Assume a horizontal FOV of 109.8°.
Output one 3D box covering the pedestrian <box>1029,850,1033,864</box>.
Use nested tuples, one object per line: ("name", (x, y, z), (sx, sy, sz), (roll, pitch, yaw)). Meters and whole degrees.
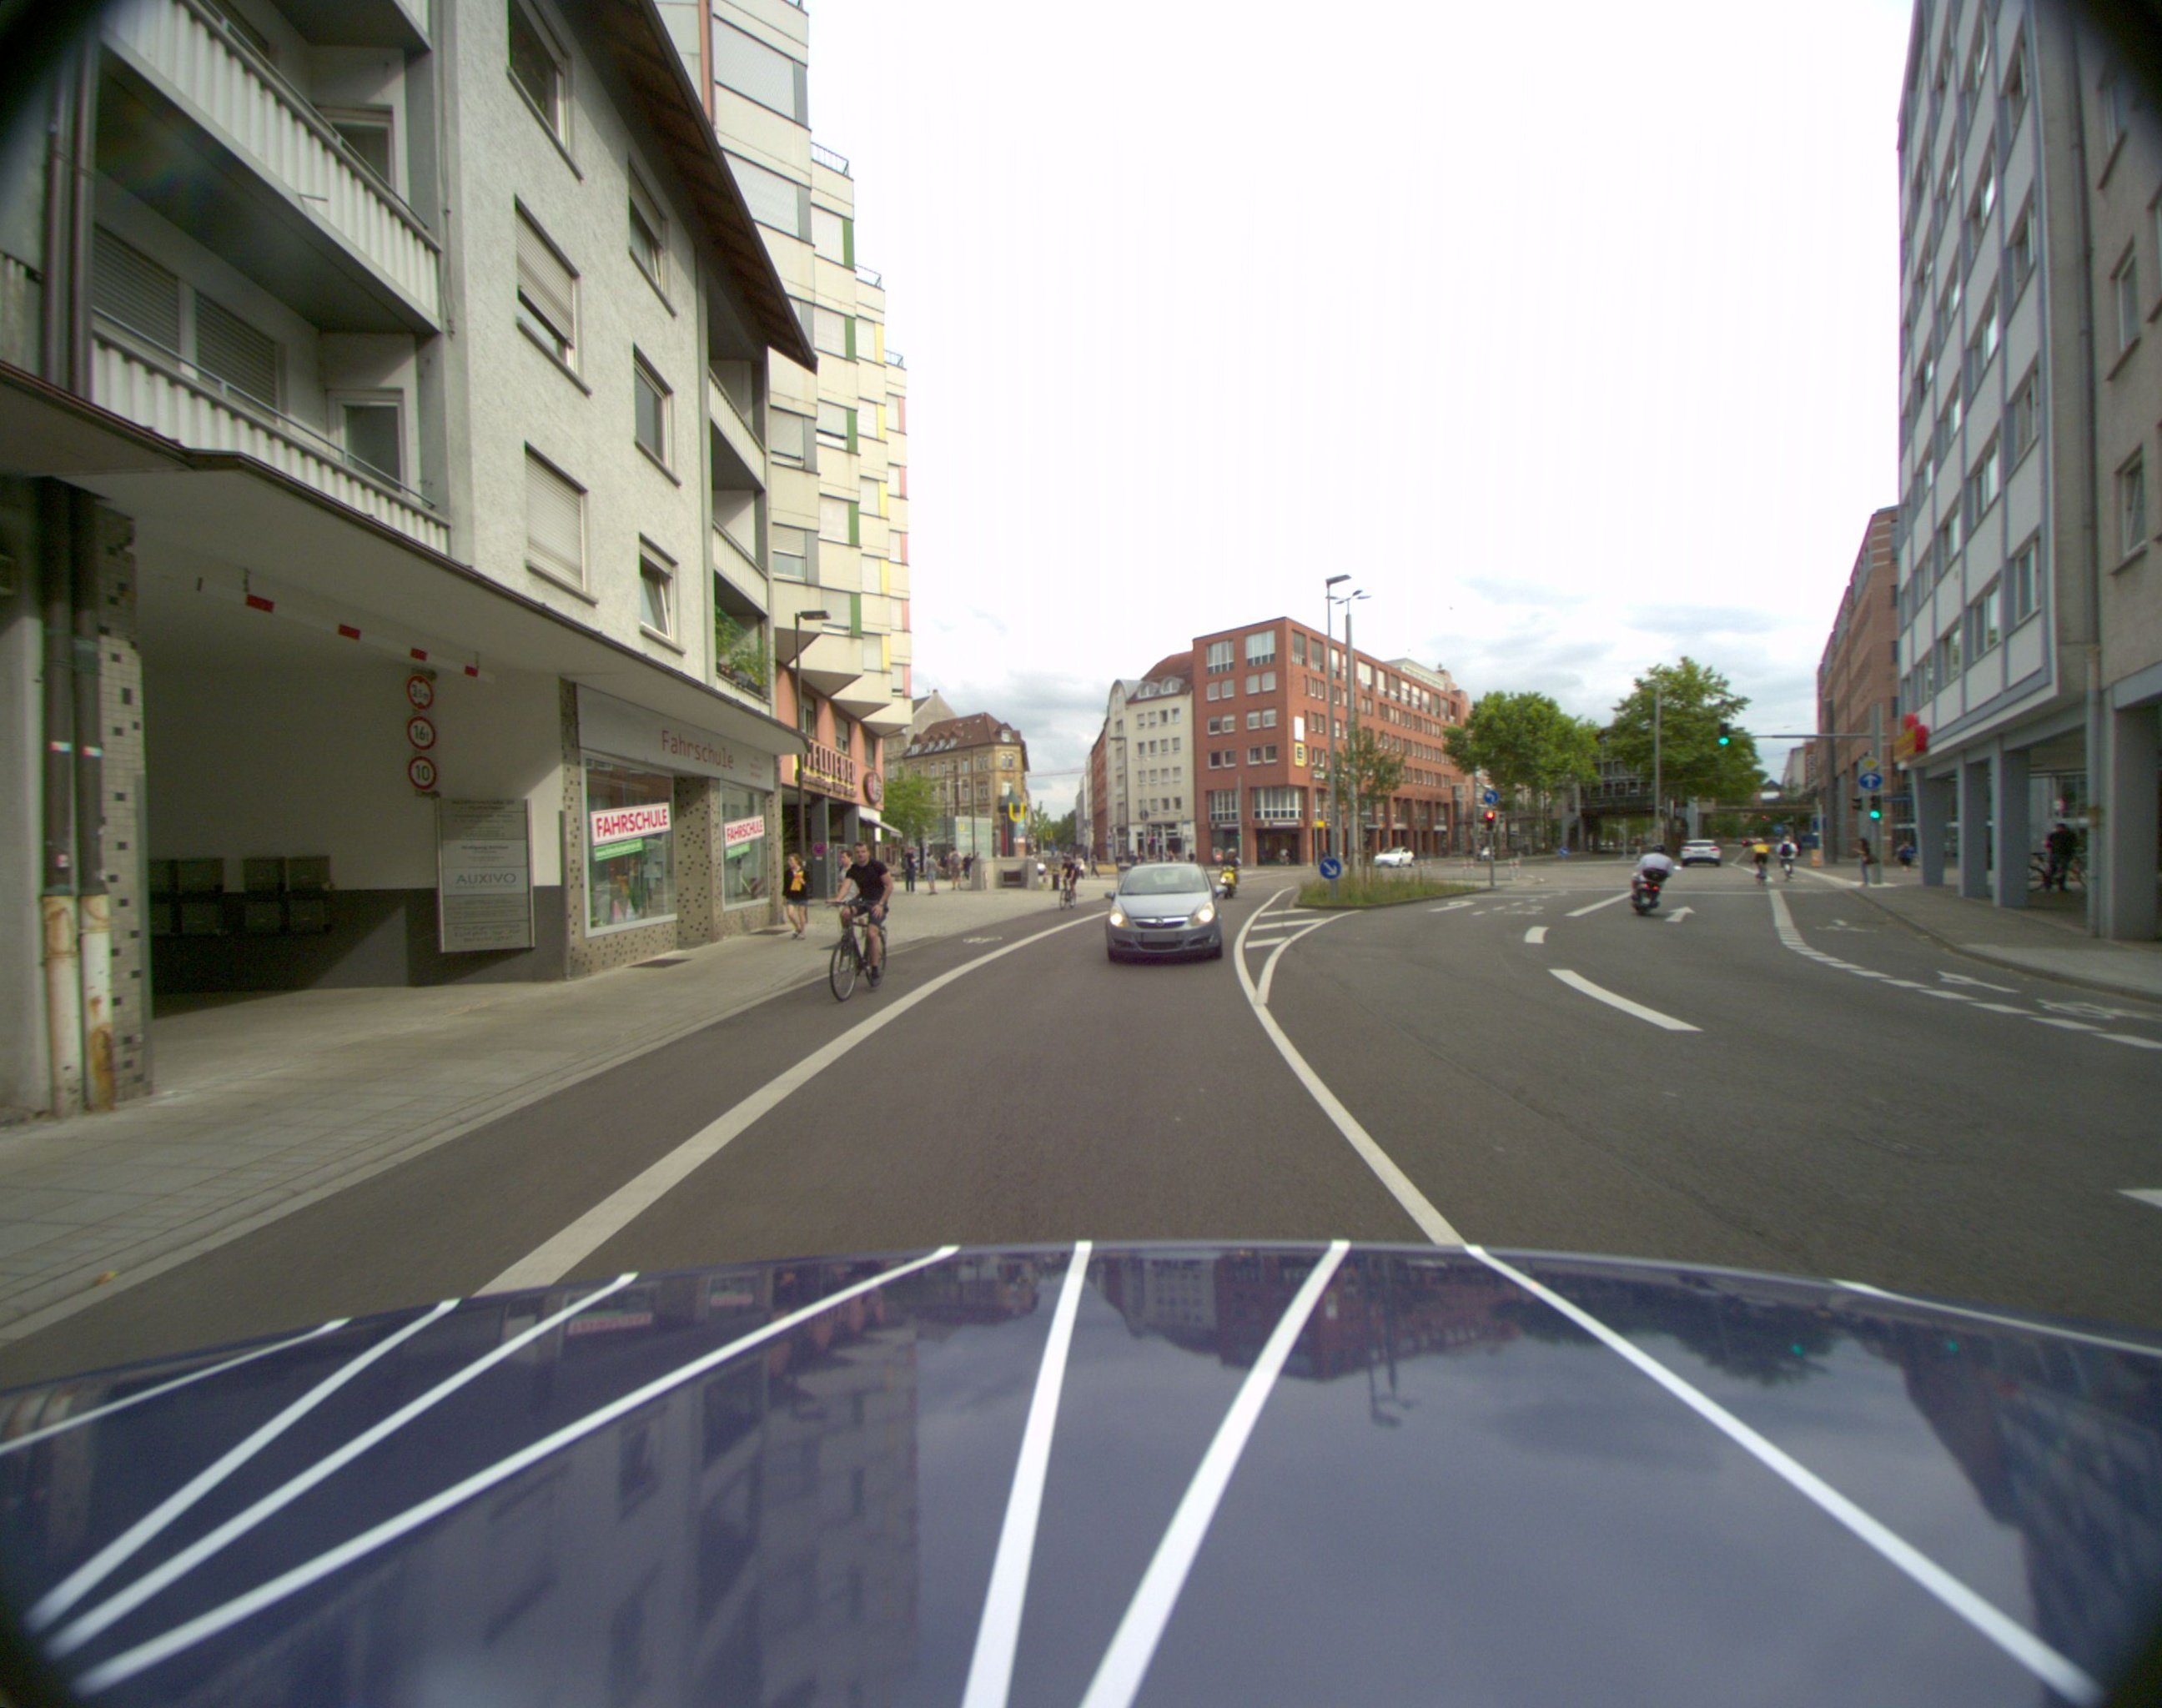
("pedestrian", (-5.837, 0.330, 88.670), (0.425, 1.675, 0.514), (-1, 1, -15))

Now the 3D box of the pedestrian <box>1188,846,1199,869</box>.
("pedestrian", (8.885, 0.277, 59.973), (0.567, 1.813, 0.697), (0, 1, 41))

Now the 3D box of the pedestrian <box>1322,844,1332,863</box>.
("pedestrian", (22.346, -0.023, 69.019), (0.639, 1.677, 0.601), (0, 1, 42))

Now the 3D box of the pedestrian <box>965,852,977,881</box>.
("pedestrian", (-6.994, 0.781, 48.329), (0.547, 1.856, 0.586), (0, 0, 38))

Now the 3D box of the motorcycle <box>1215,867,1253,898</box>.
("motorcycle", (5.377, 0.985, 26.591), (0.569, 0.962, 2.018), (-1, 1, 33))

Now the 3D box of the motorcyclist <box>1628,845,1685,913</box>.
("motorcyclist", (12.857, 0.538, 17.010), (0.796, 1.452, 0.866), (1, 2, 24))

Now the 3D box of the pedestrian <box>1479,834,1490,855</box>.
("pedestrian", (35.939, -0.831, 67.645), (0.692, 1.864, 0.808), (0, 1, 43))

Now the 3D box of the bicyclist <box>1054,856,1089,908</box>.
("bicyclist", (-0.292, 0.879, 24.090), (0.612, 1.594, 0.848), (-3, 0, 38))

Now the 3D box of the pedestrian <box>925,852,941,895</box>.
("pedestrian", (-5.778, 0.753, 29.696), (0.473, 1.663, 0.590), (1, 1, -2))

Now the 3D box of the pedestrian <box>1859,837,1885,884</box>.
("pedestrian", (26.111, 0.208, 25.087), (0.499, 1.550, 0.519), (-1, 1, 35))

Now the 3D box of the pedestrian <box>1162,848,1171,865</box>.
("pedestrian", (8.402, 0.254, 74.528), (0.707, 1.638, 0.721), (-1, 0, -10))

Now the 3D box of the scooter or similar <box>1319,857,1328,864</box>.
("scooter or similar", (21.834, 0.601, 68.387), (0.507, 0.570, 0.817), (-1, 1, 35))

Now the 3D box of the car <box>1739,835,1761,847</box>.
("car", (117.658, -2.287, 133.733), (2.503, 1.936, 5.102), (-1, 1, 37))

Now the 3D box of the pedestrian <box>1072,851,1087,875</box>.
("pedestrian", (-0.100, 0.615, 52.251), (0.633, 1.685, 0.708), (0, 1, 42))

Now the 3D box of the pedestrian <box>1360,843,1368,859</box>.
("pedestrian", (28.775, -0.276, 77.192), (0.733, 1.623, 0.406), (-2, 3, -40))

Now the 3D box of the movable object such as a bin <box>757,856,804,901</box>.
("movable object such as a bin", (-10.583, 0.853, 26.793), (1.197, 1.507, 1.196), (-1, 1, -4))

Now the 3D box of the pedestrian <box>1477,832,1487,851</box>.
("pedestrian", (36.761, -1.137, 69.704), (0.578, 1.781, 0.534), (-2, 1, -28))

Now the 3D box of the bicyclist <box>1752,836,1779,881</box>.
("bicyclist", (25.047, 0.160, 27.824), (0.712, 1.640, 0.973), (0, 1, 41))

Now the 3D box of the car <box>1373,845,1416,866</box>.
("car", (25.230, 0.099, 61.091), (1.953, 1.592, 4.008), (-1, 1, 43))

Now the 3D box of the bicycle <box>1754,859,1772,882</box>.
("bicycle", (25.130, 0.604, 27.997), (0.409, 0.790, 2.002), (0, 1, 39))

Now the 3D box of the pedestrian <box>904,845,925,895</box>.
("pedestrian", (-6.499, 0.616, 29.733), (0.674, 1.892, 0.590), (1, 1, -2))

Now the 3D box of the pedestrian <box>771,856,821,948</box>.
("pedestrian", (-5.366, 0.884, 14.363), (0.606, 1.659, 0.943), (2, 1, -4))

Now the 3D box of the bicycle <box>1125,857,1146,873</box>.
("bicycle", (3.937, 0.801, 54.786), (0.397, 1.104, 1.834), (0, 1, 43))

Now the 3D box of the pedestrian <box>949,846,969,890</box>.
("pedestrian", (-5.208, 0.585, 32.461), (0.658, 1.842, 0.971), (2, 2, 1))

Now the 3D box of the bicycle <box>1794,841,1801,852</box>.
("bicycle", (72.164, -0.762, 76.519), (0.546, 1.111, 1.593), (-1, 1, 43))

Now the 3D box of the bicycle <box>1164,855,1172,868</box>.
("bicycle", (6.858, 0.589, 59.939), (0.542, 0.945, 1.807), (-1, 0, 3))

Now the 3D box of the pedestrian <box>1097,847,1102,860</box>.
("pedestrian", (2.261, -0.067, 94.565), (0.541, 1.712, 0.520), (-1, 1, 2))

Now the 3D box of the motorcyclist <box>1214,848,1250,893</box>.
("motorcyclist", (5.282, 0.566, 26.528), (0.870, 1.508, 1.046), (-1, 1, 32))

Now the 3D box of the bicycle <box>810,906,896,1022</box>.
("bicycle", (-2.696, 1.249, 9.160), (0.407, 1.115, 2.017), (-2, 0, -1))

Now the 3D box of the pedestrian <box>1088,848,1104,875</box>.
("pedestrian", (1.053, 0.537, 53.083), (0.639, 1.843, 0.879), (0, 1, 42))

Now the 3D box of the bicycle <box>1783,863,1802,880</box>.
("bicycle", (27.666, 0.660, 29.544), (2.002, 0.585, 0.484), (-2, 1, -45))

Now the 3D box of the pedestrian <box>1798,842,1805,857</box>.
("pedestrian", (72.230, -0.452, 76.185), (0.527, 1.564, 0.602), (0, 2, 42))

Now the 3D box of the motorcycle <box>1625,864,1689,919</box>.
("motorcycle", (12.858, 0.806, 17.020), (0.722, 1.088, 2.039), (1, 1, 26))

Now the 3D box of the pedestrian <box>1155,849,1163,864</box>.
("pedestrian", (7.659, 0.229, 74.393), (0.593, 1.502, 0.629), (-1, 0, -10))

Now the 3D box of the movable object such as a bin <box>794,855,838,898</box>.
("movable object such as a bin", (-9.350, 0.770, 26.837), (1.148, 1.452, 1.223), (-1, 1, -4))

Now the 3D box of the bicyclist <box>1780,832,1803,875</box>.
("bicyclist", (27.694, -0.032, 29.605), (0.608, 1.636, 1.039), (0, 1, 45))

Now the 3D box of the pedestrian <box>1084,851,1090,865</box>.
("pedestrian", (0.728, 0.516, 94.398), (0.591, 1.712, 0.519), (-2, 1, -9))

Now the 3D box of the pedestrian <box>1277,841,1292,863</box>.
("pedestrian", (19.308, -0.200, 72.043), (0.998, 2.002, 1.045), (-3, 0, 1))

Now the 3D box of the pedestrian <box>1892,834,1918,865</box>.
("pedestrian", (39.770, -0.220, 36.696), (0.797, 1.464, 0.686), (0, 1, 43))

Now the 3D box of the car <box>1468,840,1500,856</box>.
("car", (41.960, -0.655, 78.996), (1.953, 1.592, 4.008), (-1, 1, 43))

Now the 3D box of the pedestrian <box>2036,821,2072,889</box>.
("pedestrian", (25.670, 0.021, 20.051), (0.476, 1.755, 0.590), (0, 1, 42))

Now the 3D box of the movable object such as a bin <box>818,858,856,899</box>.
("movable object such as a bin", (-9.470, 0.927, 29.502), (1.146, 1.507, 1.088), (-1, 1, -4))

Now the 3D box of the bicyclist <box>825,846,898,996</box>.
("bicyclist", (-2.607, 0.762, 9.092), (0.560, 1.699, 0.862), (-1, 1, 2))

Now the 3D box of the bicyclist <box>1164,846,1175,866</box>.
("bicyclist", (6.975, 0.168, 59.803), (0.745, 1.550, 0.946), (-1, 1, 3))

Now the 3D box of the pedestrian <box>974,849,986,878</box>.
("pedestrian", (-6.493, 0.628, 48.849), (0.489, 1.856, 0.586), (0, 0, 38))

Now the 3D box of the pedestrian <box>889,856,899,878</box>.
("pedestrian", (-14.457, 1.005, 58.681), (0.676, 1.632, 0.440), (0, 1, 42))

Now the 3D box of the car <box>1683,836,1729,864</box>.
("car", (39.403, -0.288, 47.870), (1.833, 1.650, 4.333), (-1, 1, 44))

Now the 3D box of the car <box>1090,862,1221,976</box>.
("car", (1.346, 0.922, 12.424), (1.722, 1.394, 4.002), (-3, 0, 9))

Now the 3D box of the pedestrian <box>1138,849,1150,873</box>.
("pedestrian", (4.555, 0.491, 54.733), (0.519, 1.676, 0.727), (0, 1, 43))

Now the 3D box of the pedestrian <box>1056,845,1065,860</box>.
("pedestrian", (-2.251, -0.177, 83.334), (0.606, 1.675, 0.732), (-5, 3, -24))

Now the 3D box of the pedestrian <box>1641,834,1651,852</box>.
("pedestrian", (51.808, -1.012, 69.689), (0.657, 1.529, 0.559), (-1, 3, 38))

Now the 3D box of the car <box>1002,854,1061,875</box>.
("car", (-3.984, 0.809, 60.692), (4.590, 1.503, 2.004), (0, 2, 43))

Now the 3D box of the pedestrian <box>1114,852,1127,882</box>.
("pedestrian", (2.357, 0.779, 45.369), (0.676, 1.789, 0.886), (1, 0, 1))

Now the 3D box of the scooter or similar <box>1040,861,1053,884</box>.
("scooter or similar", (-1.912, 1.001, 41.867), (0.286, 1.205, 1.127), (-1, 1, 19))

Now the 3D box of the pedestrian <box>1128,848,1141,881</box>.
("pedestrian", (3.176, 0.626, 45.063), (0.720, 1.960, 1.014), (1, 0, 5))

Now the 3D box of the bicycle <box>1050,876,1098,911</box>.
("bicycle", (-0.205, 1.243, 24.167), (0.488, 0.994, 1.751), (-2, 0, 38))

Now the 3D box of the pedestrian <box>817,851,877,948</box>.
("pedestrian", (-4.382, 0.844, 14.270), (0.753, 1.739, 0.860), (2, -1, 4))

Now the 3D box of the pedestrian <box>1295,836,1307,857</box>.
("pedestrian", (21.556, -0.700, 74.482), (0.814, 2.002, 0.799), (-3, 0, 40))
